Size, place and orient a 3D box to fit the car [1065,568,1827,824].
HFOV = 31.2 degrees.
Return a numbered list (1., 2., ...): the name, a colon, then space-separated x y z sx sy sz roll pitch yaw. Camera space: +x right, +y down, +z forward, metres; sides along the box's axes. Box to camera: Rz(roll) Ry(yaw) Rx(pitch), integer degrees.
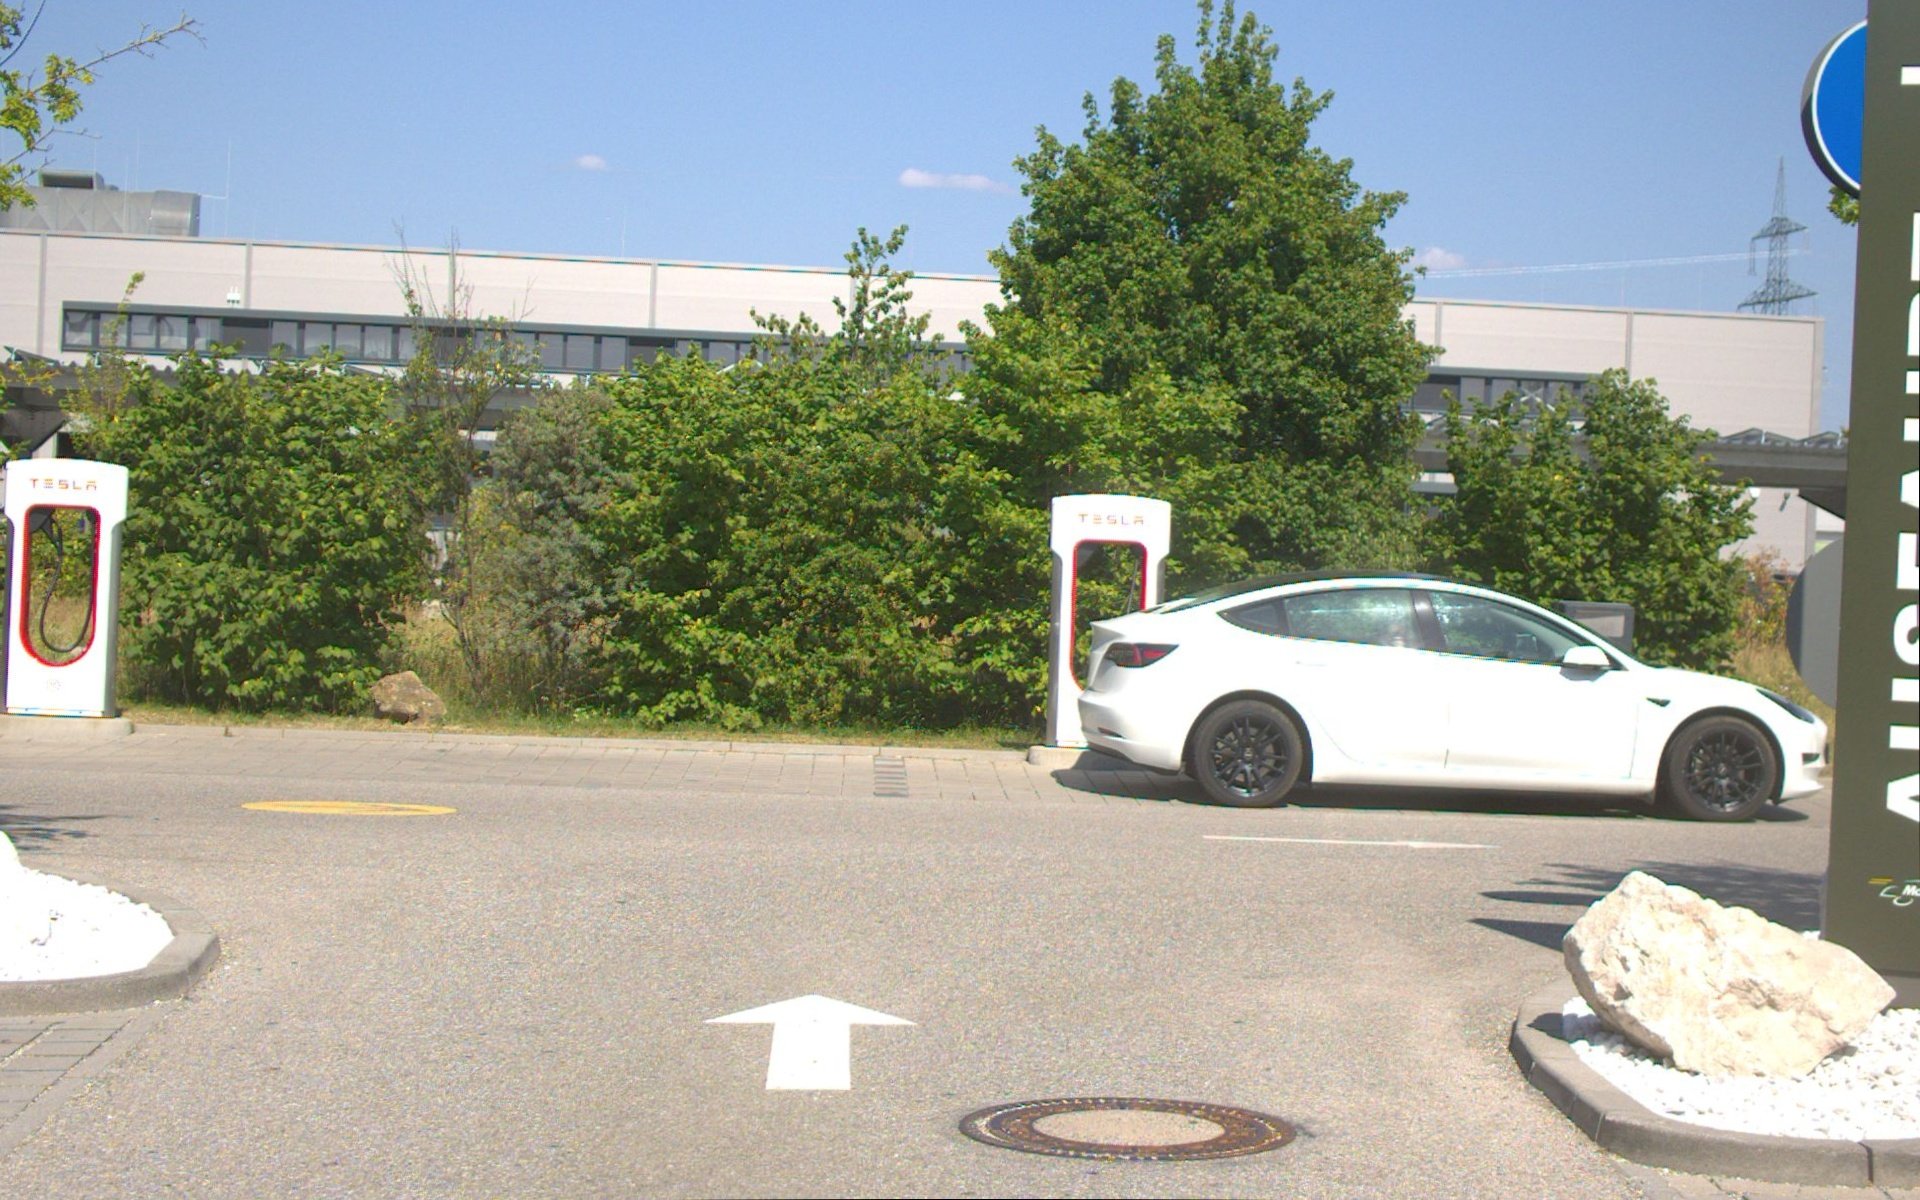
1. car: 2.922 0.564 21.398 4.434 1.373 1.822 2 1 0
